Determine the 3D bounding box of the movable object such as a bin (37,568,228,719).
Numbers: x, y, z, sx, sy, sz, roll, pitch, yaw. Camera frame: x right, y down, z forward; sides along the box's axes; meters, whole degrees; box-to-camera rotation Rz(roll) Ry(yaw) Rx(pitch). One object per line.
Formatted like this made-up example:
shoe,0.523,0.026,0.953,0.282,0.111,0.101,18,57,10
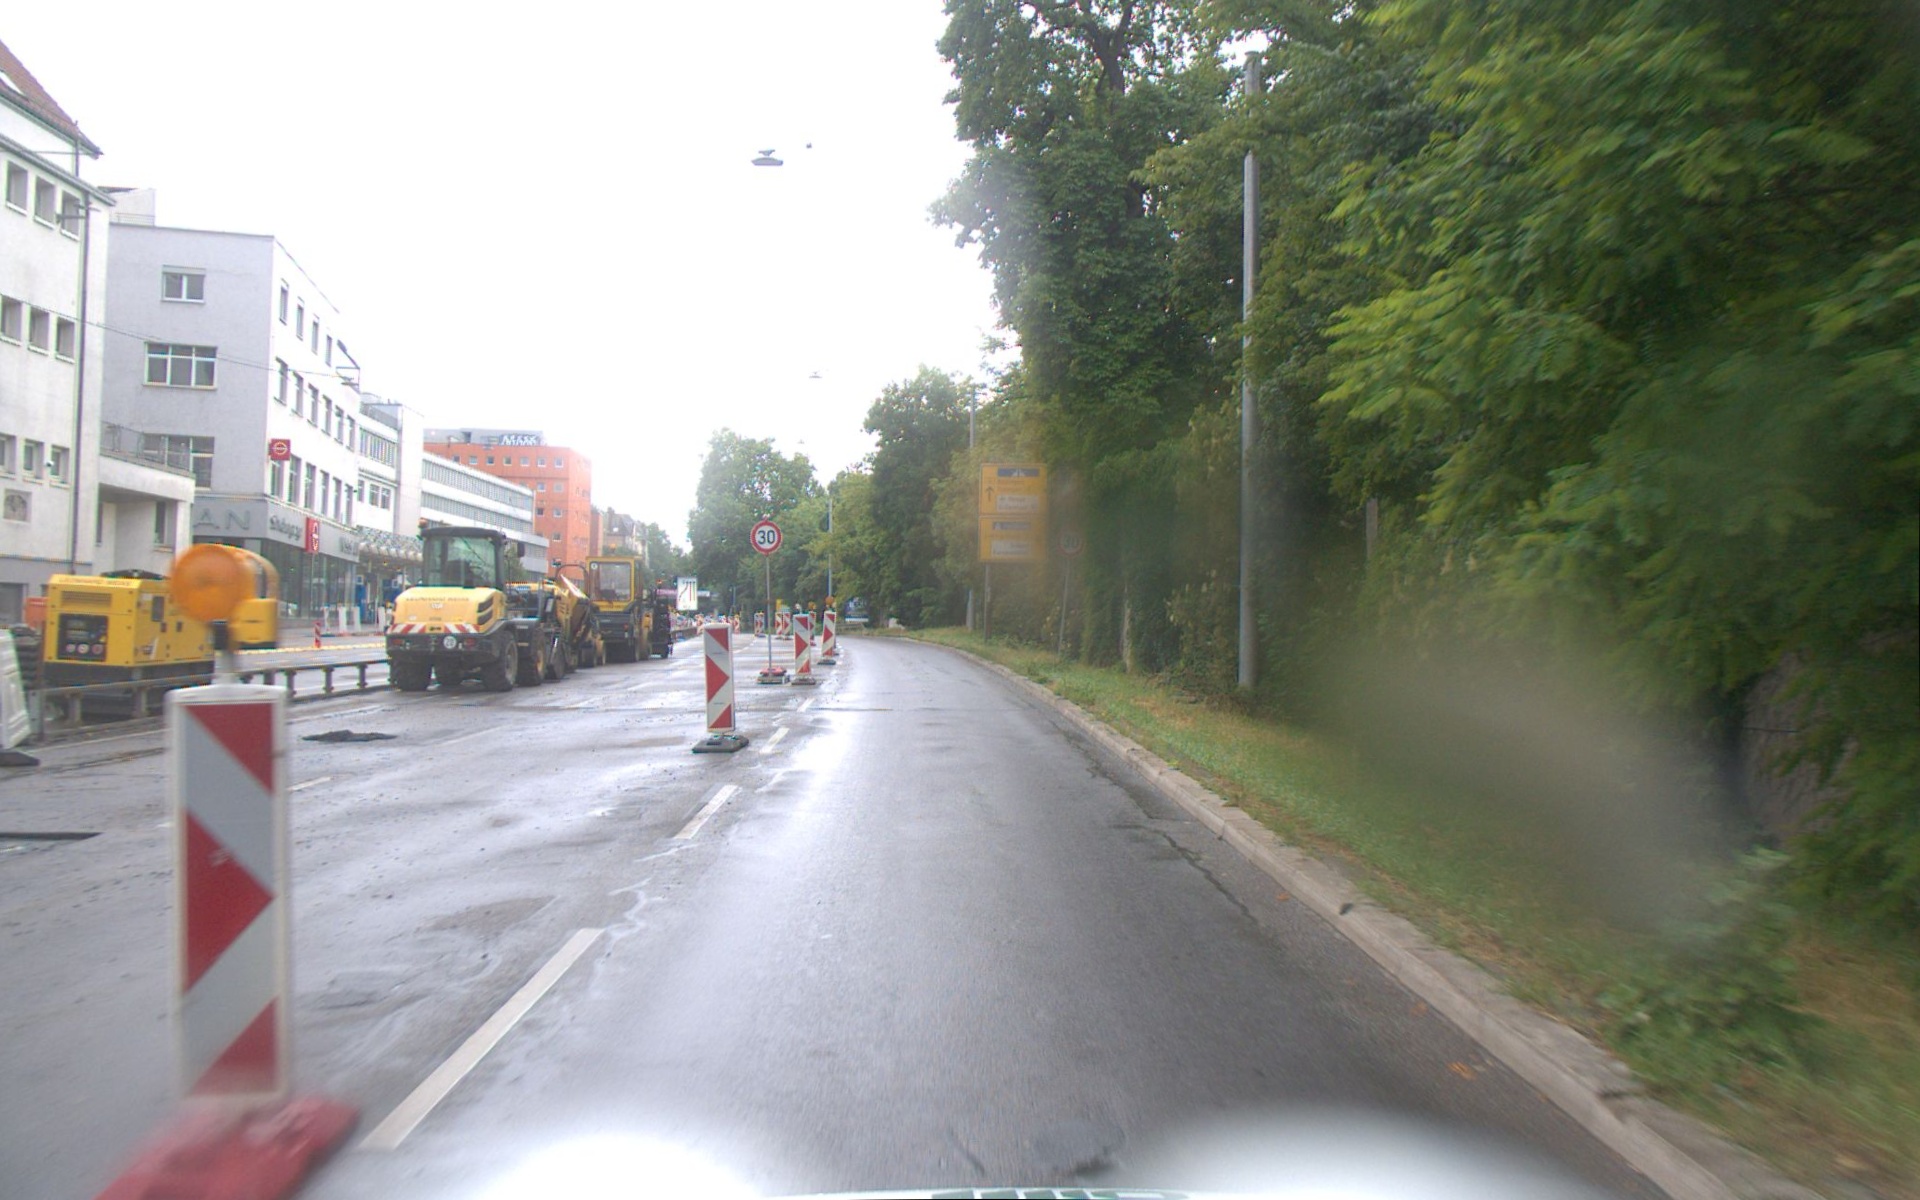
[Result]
movable object such as a bin,-9.832,0.514,19.797,1.061,1.673,2.437,2,-1,-2

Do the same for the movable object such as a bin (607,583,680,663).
movable object such as a bin,-9.013,0.670,47.262,1.682,2.187,3.346,0,-1,-5

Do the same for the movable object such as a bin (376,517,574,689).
movable object such as a bin,-8.200,0.090,28.522,1.863,2.655,5.381,1,-1,-1

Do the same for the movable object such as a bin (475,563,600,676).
movable object such as a bin,-8.570,0.414,33.955,1.335,2.127,5.028,1,-1,-1

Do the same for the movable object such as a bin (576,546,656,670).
movable object such as a bin,-8.866,0.229,42.799,1.436,3.061,3.722,0,-1,-3

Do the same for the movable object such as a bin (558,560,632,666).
movable object such as a bin,-8.684,0.311,39.487,1.383,2.443,2.403,0,-1,-4
